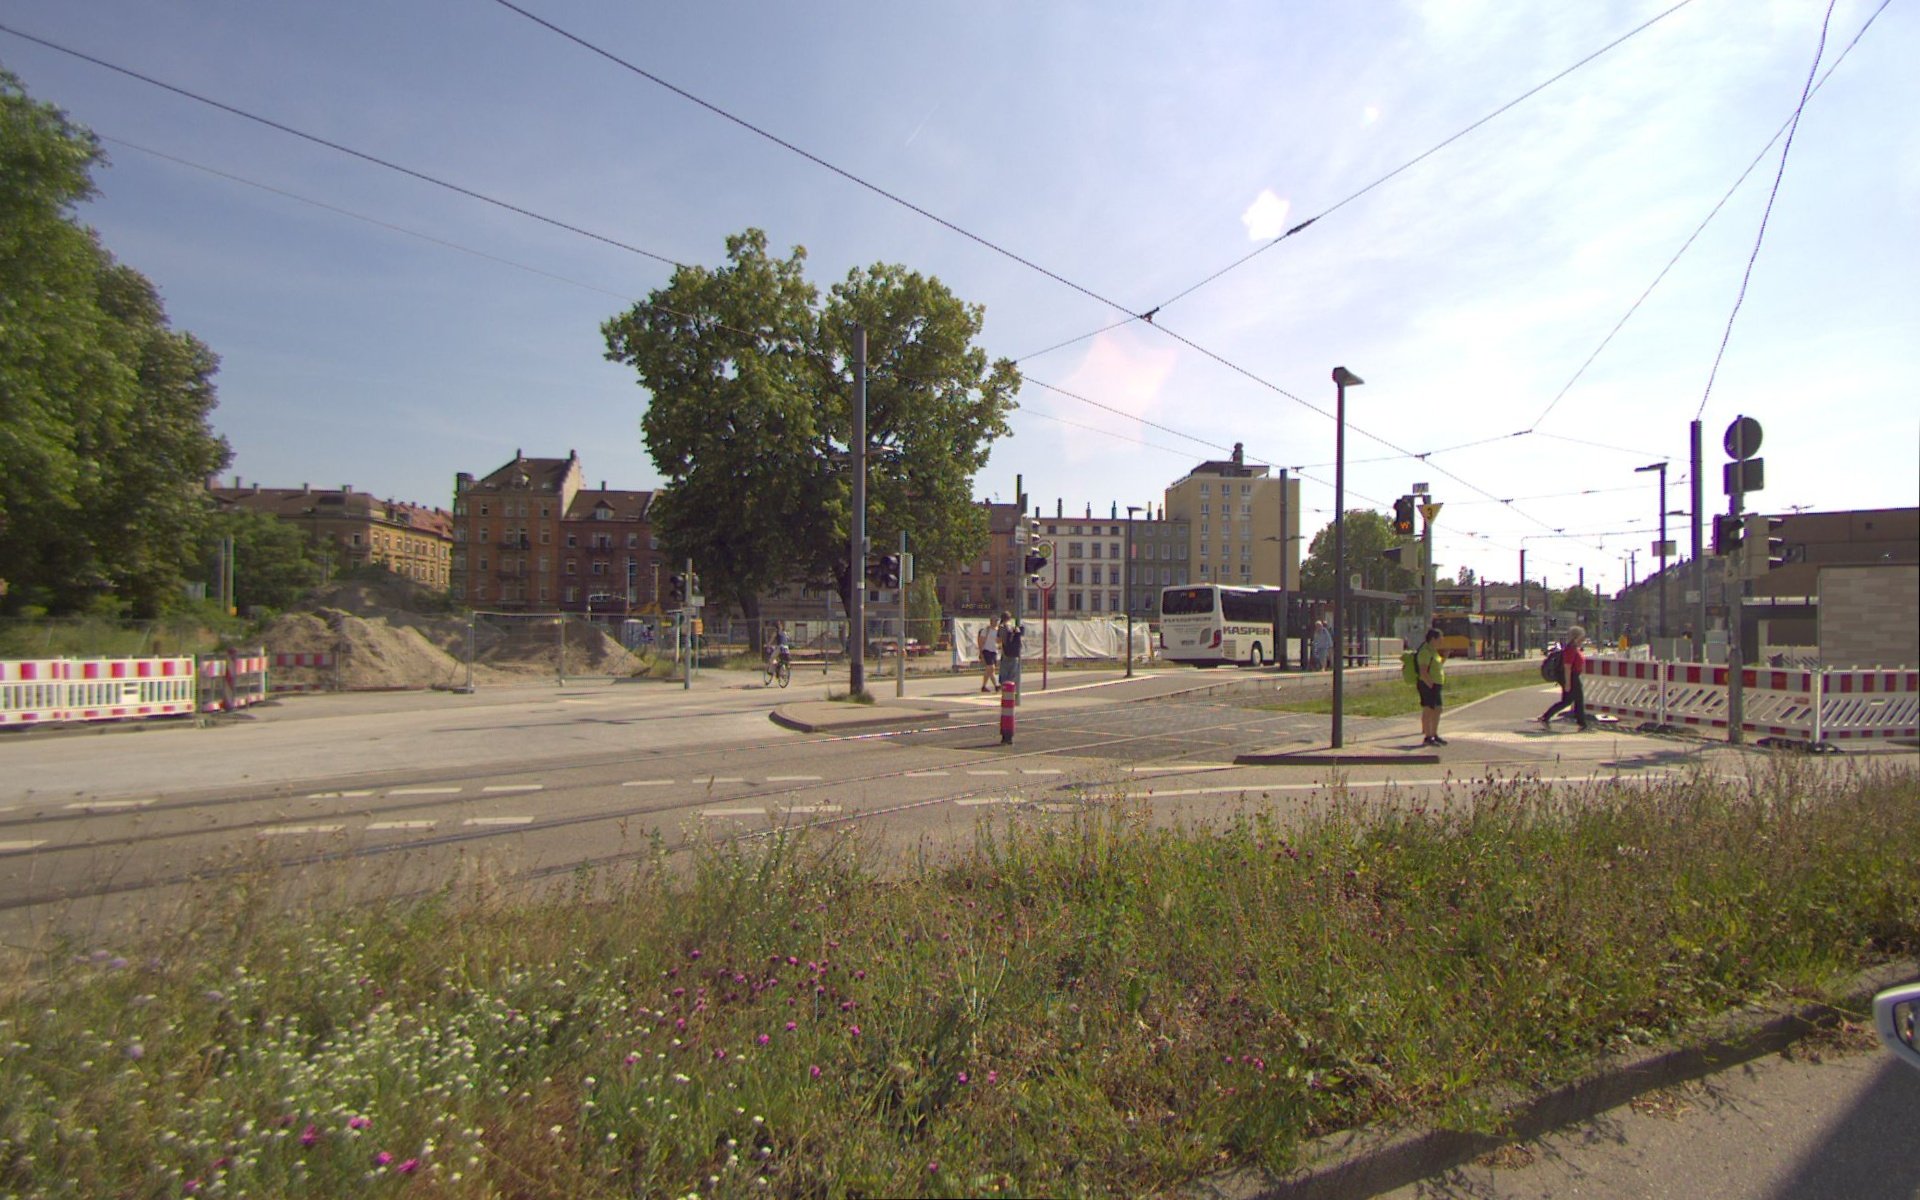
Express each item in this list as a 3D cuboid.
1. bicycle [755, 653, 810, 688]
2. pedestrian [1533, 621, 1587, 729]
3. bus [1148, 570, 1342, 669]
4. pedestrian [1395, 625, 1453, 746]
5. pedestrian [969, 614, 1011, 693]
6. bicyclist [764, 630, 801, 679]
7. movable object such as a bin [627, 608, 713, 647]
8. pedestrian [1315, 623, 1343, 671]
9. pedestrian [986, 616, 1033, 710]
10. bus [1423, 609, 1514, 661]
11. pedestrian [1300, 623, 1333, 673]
[{"bbox_3d":[-5.073,1.986,28.615,0.755,0.935,2.050,1,-2,-35],"label":"bicycle"},{"bbox_3d":[9.271,1.145,15.526,0.675,1.637,0.350,-1,-2,34],"label":"pedestrian"},{"bbox_3d":[12.215,0.911,41.776,2.820,3.535,12.598,-1,-3,40],"label":"bus"},{"bbox_3d":[6.246,1.133,13.534,0.655,1.564,0.423,1,2,23],"label":"pedestrian"},{"bbox_3d":[0.710,1.256,23.861,0.828,1.836,0.647,0,-1,-18],"label":"pedestrian"},{"bbox_3d":[-5.087,1.553,28.758,0.613,1.378,1.162,1,-2,-35],"label":"bicyclist"},{"bbox_3d":[-23.336,2.258,80.770,6.453,3.049,2.572,1,-2,-20],"label":"movable object such as a bin"},{"bbox_3d":[12.656,1.594,34.451,0.581,1.637,0.682,1,-1,-37],"label":"pedestrian"},{"bbox_3d":[0.937,1.178,19.157,0.550,1.735,0.931,0,-1,-23],"label":"pedestrian"},{"bbox_3d":[35.544,2.426,69.867,2.820,3.324,12.598,-1,-2,40],"label":"bus"},{"bbox_3d":[11.839,1.571,33.380,0.655,1.637,0.786,0,-1,-34],"label":"pedestrian"}]
